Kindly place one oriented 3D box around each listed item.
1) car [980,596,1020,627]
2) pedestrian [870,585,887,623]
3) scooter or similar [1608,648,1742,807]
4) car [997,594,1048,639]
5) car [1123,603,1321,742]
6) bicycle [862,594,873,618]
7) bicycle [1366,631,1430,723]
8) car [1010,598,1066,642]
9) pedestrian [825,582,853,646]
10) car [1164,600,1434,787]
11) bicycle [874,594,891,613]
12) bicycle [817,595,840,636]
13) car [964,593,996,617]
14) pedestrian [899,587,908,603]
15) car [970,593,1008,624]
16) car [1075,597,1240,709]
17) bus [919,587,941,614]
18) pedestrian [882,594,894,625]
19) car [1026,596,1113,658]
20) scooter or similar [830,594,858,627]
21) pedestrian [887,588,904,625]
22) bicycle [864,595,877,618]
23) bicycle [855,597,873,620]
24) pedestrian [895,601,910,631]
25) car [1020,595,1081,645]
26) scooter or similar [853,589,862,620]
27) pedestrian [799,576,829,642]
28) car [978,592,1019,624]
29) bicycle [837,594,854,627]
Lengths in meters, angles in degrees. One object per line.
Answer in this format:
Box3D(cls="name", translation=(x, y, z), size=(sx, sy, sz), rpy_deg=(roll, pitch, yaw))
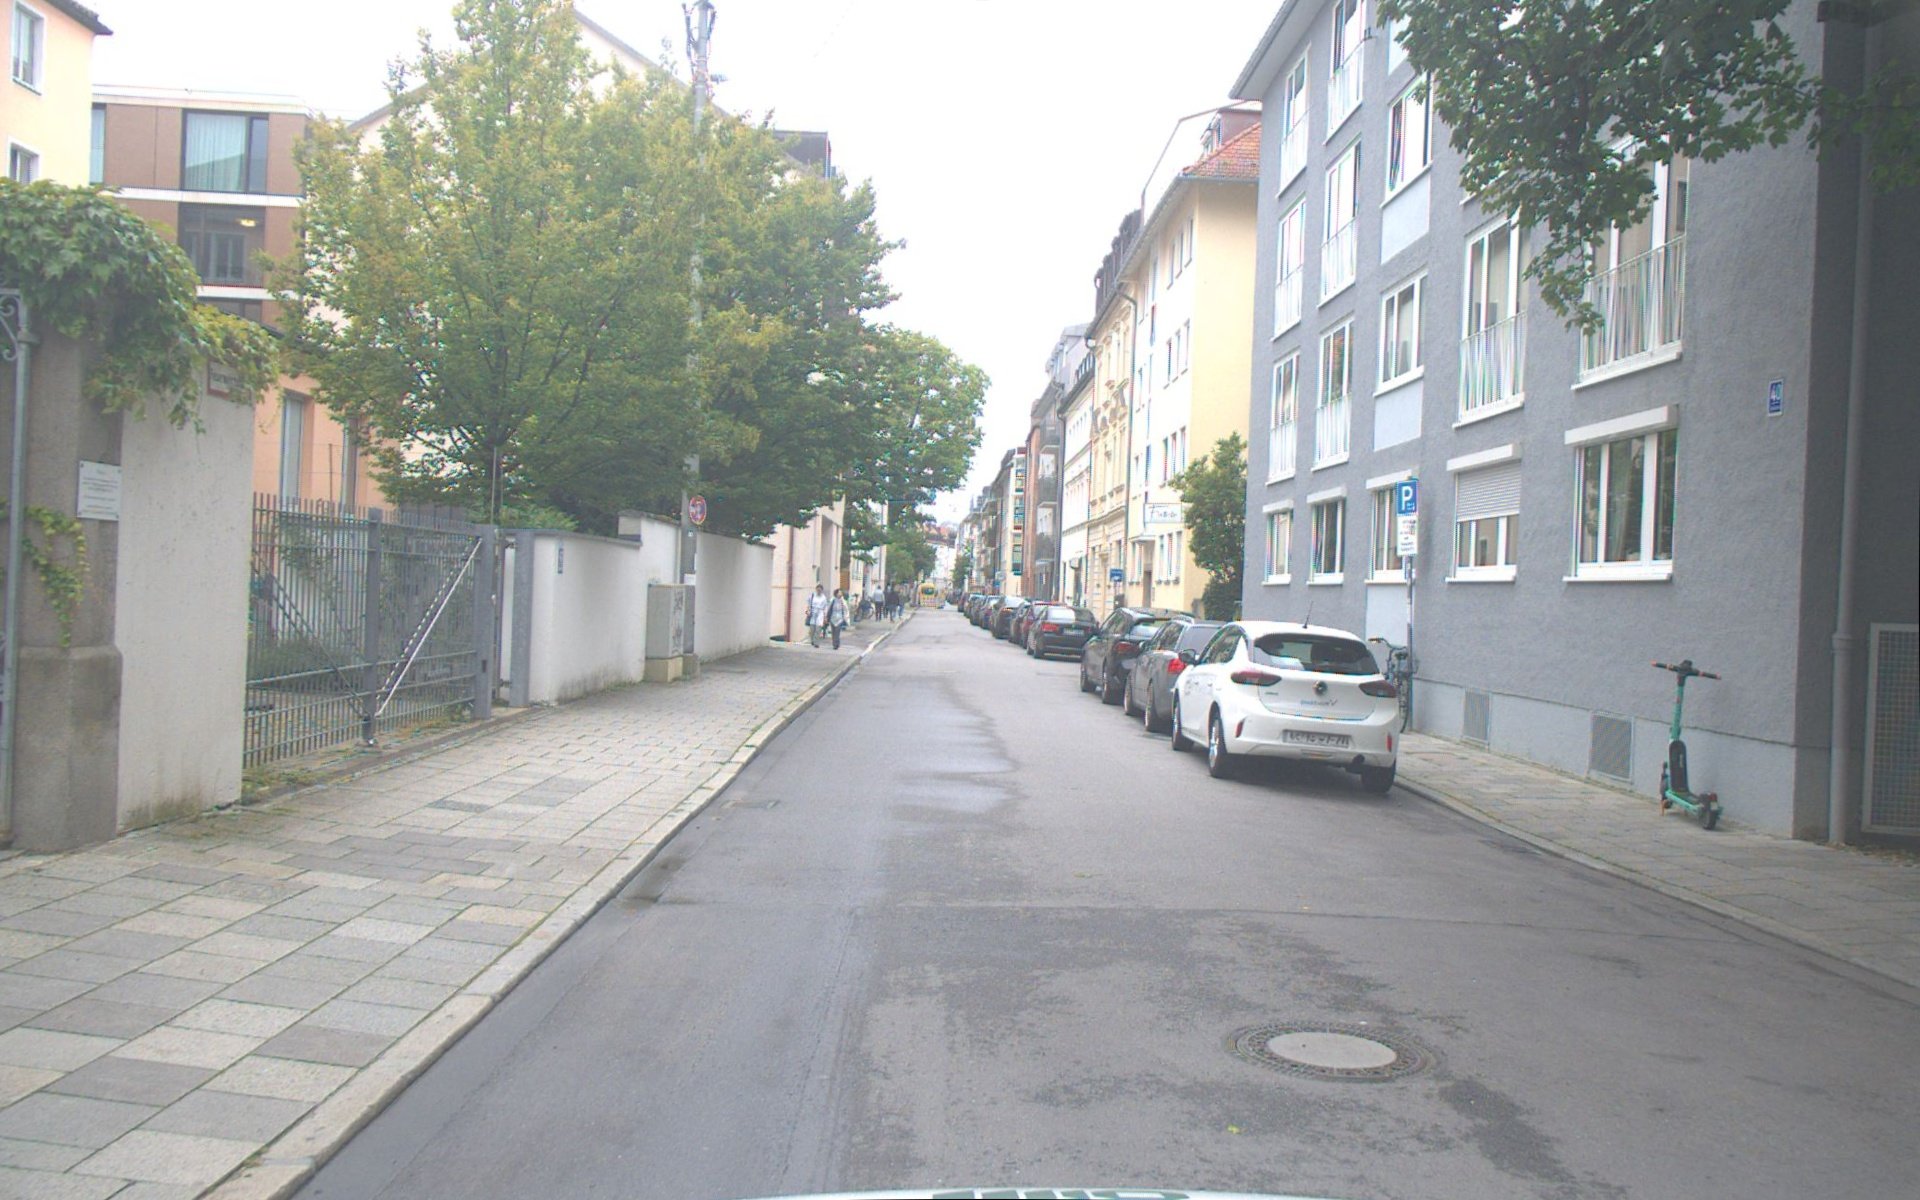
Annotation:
Box3D(cls="car", translation=(1.914, 0.538, 80.047), size=(1.771, 1.387, 3.945), rpy_deg=(1, 0, 0))
Box3D(cls="pedestrian", translation=(-4.037, 0.186, 82.183), size=(0.704, 1.828, 0.916), rpy_deg=(3, -1, -1))
Box3D(cls="scooter or similar", translation=(5.864, 1.018, 13.631), size=(0.495, 1.195, 1.376), rpy_deg=(1, 0, 0))
Box3D(cls="car", translation=(2.417, 0.611, 64.592), size=(1.667, 1.635, 4.683), rpy_deg=(2, 0, -1))
Box3D(cls="car", translation=(3.267, 0.849, 21.502), size=(1.754, 1.425, 4.485), rpy_deg=(5, 0, 0))
Box3D(cls="bicycle", translation=(-4.817, 0.324, 86.134), size=(0.448, 1.179, 1.605), rpy_deg=(4, 0, 0))
Box3D(cls="bicycle", translation=(5.819, 0.997, 22.019), size=(0.369, 1.129, 1.686), rpy_deg=(1, 0, -1))
Box3D(cls="car", translation=(2.700, 0.683, 58.063), size=(1.642, 1.417, 4.064), rpy_deg=(2, 0, -1))
Box3D(cls="pedestrian", translation=(-3.136, 0.363, 42.946), size=(0.610, 1.606, 0.714), rpy_deg=(3, -1, -1))
Box3D(cls="car", translation=(3.268, 0.832, 16.812), size=(1.733, 1.470, 4.344), rpy_deg=(5, 0, 0))
Box3D(cls="bicycle", translation=(-5.183, 0.237, 110.808), size=(0.632, 1.239, 1.655), rpy_deg=(1, 0, -20))
Box3D(cls="bicycle", translation=(-3.918, 0.458, 49.300), size=(0.527, 1.158, 1.916), rpy_deg=(3, 0, -2))
Box3D(cls="car", translation=(1.354, 0.318, 114.506), size=(1.848, 1.582, 4.389), rpy_deg=(2, 0, -3))
Box3D(cls="pedestrian", translation=(-5.375, -0.458, 157.522), size=(0.740, 1.517, 0.831), rpy_deg=(1, -1, -1))
Box3D(cls="car", translation=(1.567, 0.436, 89.845), size=(1.803, 1.555, 4.291), rpy_deg=(2, 0, -2))
Box3D(cls="car", translation=(3.050, 0.772, 26.361), size=(1.805, 1.453, 4.261), rpy_deg=(5, 0, -3))
Box3D(cls="bus", translation=(-3.550, 0.054, 196.880), size=(2.540, 3.156, 6.305), rpy_deg=(1, 0, -1))
Box3D(cls="pedestrian", translation=(-4.161, 0.552, 95.519), size=(0.600, 1.743, 0.823), rpy_deg=(4, -1, -1))
Box3D(cls="car", translation=(2.833, 0.677, 43.699), size=(1.789, 1.357, 4.507), rpy_deg=(5, 0, -2))
Box3D(cls="scooter or similar", translation=(-4.274, 0.404, 60.870), size=(0.540, 1.163, 1.359), rpy_deg=(4, 0, 15))
Box3D(cls="pedestrian", translation=(-3.211, 0.315, 82.179), size=(0.704, 1.796, 0.838), rpy_deg=(3, -1, -1))
Box3D(cls="bicycle", translation=(-4.769, 0.332, 87.851), size=(0.551, 1.179, 1.718), rpy_deg=(2, 0, -7))
Box3D(cls="bicycle", translation=(-4.541, 0.393, 77.997), size=(0.690, 1.001, 1.821), rpy_deg=(6, 0, -5))
Box3D(cls="pedestrian", translation=(-3.306, 0.916, 95.456), size=(0.738, 1.688, 0.906), rpy_deg=(4, -1, -1))
Box3D(cls="car", translation=(2.882, 0.618, 53.449), size=(1.642, 1.518, 3.852), rpy_deg=(2, 0, -1))
Box3D(cls="scooter or similar", translation=(-4.733, 0.192, 76.261), size=(0.311, 1.400, 1.239), rpy_deg=(1, 0, -1))
Box3D(cls="pedestrian", translation=(-3.791, 0.228, 42.879), size=(0.601, 1.649, 0.687), rpy_deg=(4, 0, -1))
Box3D(cls="car", translation=(1.962, 0.398, 84.968), size=(1.838, 1.598, 4.314), rpy_deg=(0, 0, -3))
Box3D(cls="bicycle", translation=(-4.354, 0.396, 62.933), size=(0.533, 1.181, 1.881), rpy_deg=(3, 0, -3))
